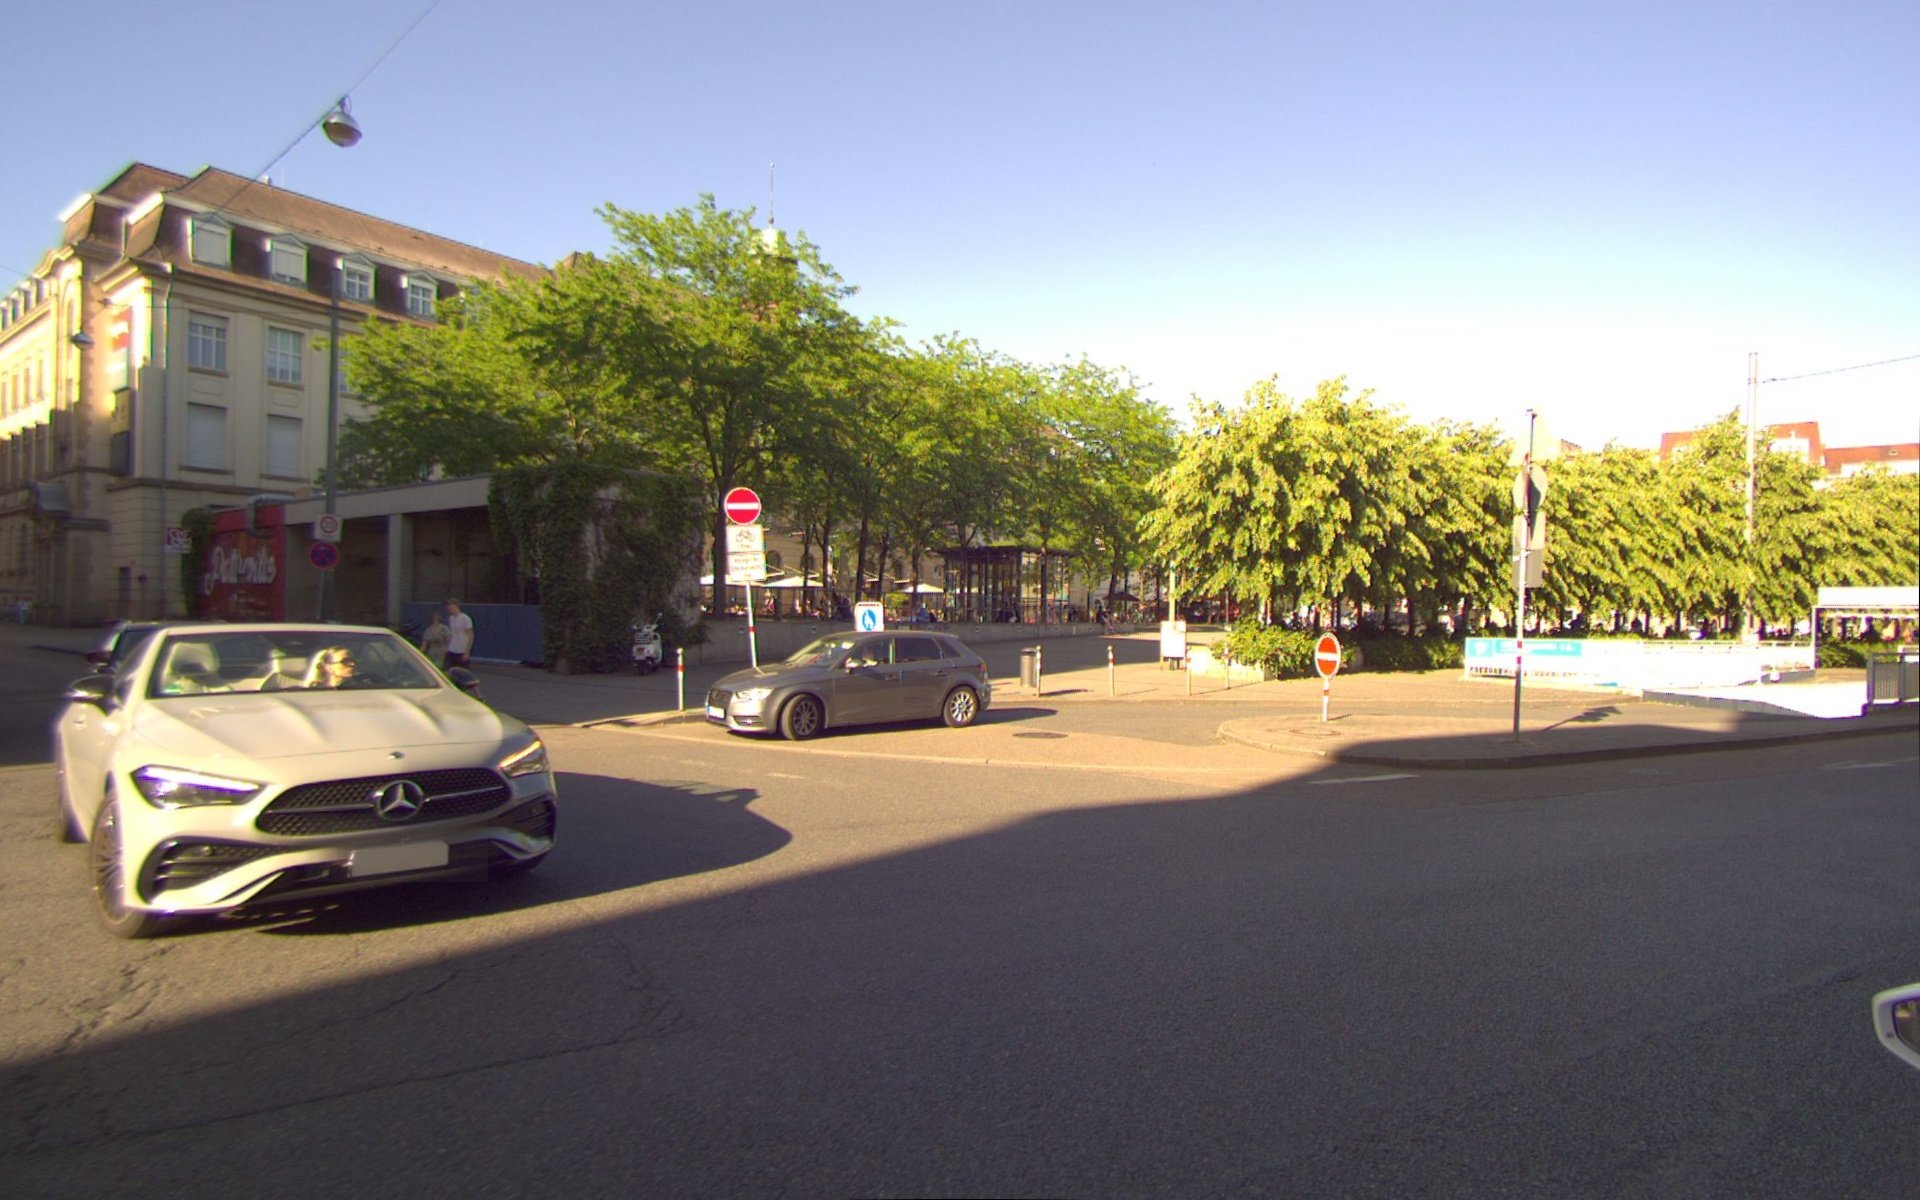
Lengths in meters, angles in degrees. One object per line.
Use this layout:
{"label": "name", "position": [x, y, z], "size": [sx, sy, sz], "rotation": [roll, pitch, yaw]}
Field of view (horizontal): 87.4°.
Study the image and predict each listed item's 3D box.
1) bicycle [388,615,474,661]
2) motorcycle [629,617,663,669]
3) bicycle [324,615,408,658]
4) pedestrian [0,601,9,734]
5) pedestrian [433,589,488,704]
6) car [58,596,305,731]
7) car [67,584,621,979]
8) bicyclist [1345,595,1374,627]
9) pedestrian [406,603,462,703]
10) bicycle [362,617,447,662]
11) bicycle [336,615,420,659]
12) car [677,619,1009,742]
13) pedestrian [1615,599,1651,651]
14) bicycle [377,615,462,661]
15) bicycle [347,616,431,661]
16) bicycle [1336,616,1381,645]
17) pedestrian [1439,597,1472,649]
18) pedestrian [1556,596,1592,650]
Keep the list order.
{"label": "bicycle", "position": [-13.669, 0.976, 26.005], "size": [0.497, 1.146, 1.961], "rotation": [0, -1, 32]}
{"label": "motorcycle", "position": [-7.634, 1.030, 24.466], "size": [0.496, 1.224, 1.692], "rotation": [1, -1, -8]}
{"label": "bicycle", "position": [-16.280, 0.998, 27.575], "size": [0.497, 1.146, 1.961], "rotation": [0, -1, 32]}
{"label": "pedestrian", "position": [-11.498, 0.780, 11.592], "size": [0.532, 1.556, 0.553], "rotation": [0, -1, 20]}
{"label": "pedestrian", "position": [-8.261, 0.759, 16.626], "size": [0.577, 1.852, 0.558], "rotation": [0, -1, 28]}
{"label": "car", "position": [-10.741, 0.801, 13.718], "size": [4.669, 1.535, 1.911], "rotation": [-2, -3, 43]}
{"label": "car", "position": [-4.143, 0.751, 6.237], "size": [1.986, 1.441, 5.054], "rotation": [2, -3, -43]}
{"label": "bicyclist", "position": [21.619, 0.608, 54.397], "size": [1.198, 1.723, 0.958], "rotation": [1, 0, -34]}
{"label": "pedestrian", "position": [-8.860, 0.879, 16.930], "size": [0.605, 1.634, 0.582], "rotation": [0, -1, 28]}
{"label": "bicycle", "position": [-14.697, 1.026, 26.637], "size": [0.497, 1.146, 1.961], "rotation": [0, -1, 32]}
{"label": "bicycle", "position": [-15.761, 1.001, 27.244], "size": [0.497, 1.146, 1.961], "rotation": [0, -1, 32]}
{"label": "car", "position": [-1.572, 1.025, 14.397], "size": [4.495, 1.442, 1.736], "rotation": [0, 0, -37]}
{"label": "pedestrian", "position": [27.657, 1.020, 41.293], "size": [0.949, 2.136, 0.734], "rotation": [1, 0, -6]}
{"label": "bicycle", "position": [-14.131, 0.991, 26.306], "size": [0.497, 1.146, 1.961], "rotation": [0, -1, 32]}
{"label": "bicycle", "position": [-15.258, 1.021, 26.896], "size": [0.497, 1.146, 1.961], "rotation": [0, -1, 32]}
{"label": "bicycle", "position": [21.606, 1.651, 54.414], "size": [2.661, 1.523, 0.958], "rotation": [2, 0, -34]}
{"label": "pedestrian", "position": [20.587, 0.952, 41.753], "size": [0.949, 2.136, 0.734], "rotation": [1, 0, -6]}
{"label": "pedestrian", "position": [24.633, 0.927, 40.322], "size": [0.949, 2.136, 0.734], "rotation": [1, 0, -6]}
